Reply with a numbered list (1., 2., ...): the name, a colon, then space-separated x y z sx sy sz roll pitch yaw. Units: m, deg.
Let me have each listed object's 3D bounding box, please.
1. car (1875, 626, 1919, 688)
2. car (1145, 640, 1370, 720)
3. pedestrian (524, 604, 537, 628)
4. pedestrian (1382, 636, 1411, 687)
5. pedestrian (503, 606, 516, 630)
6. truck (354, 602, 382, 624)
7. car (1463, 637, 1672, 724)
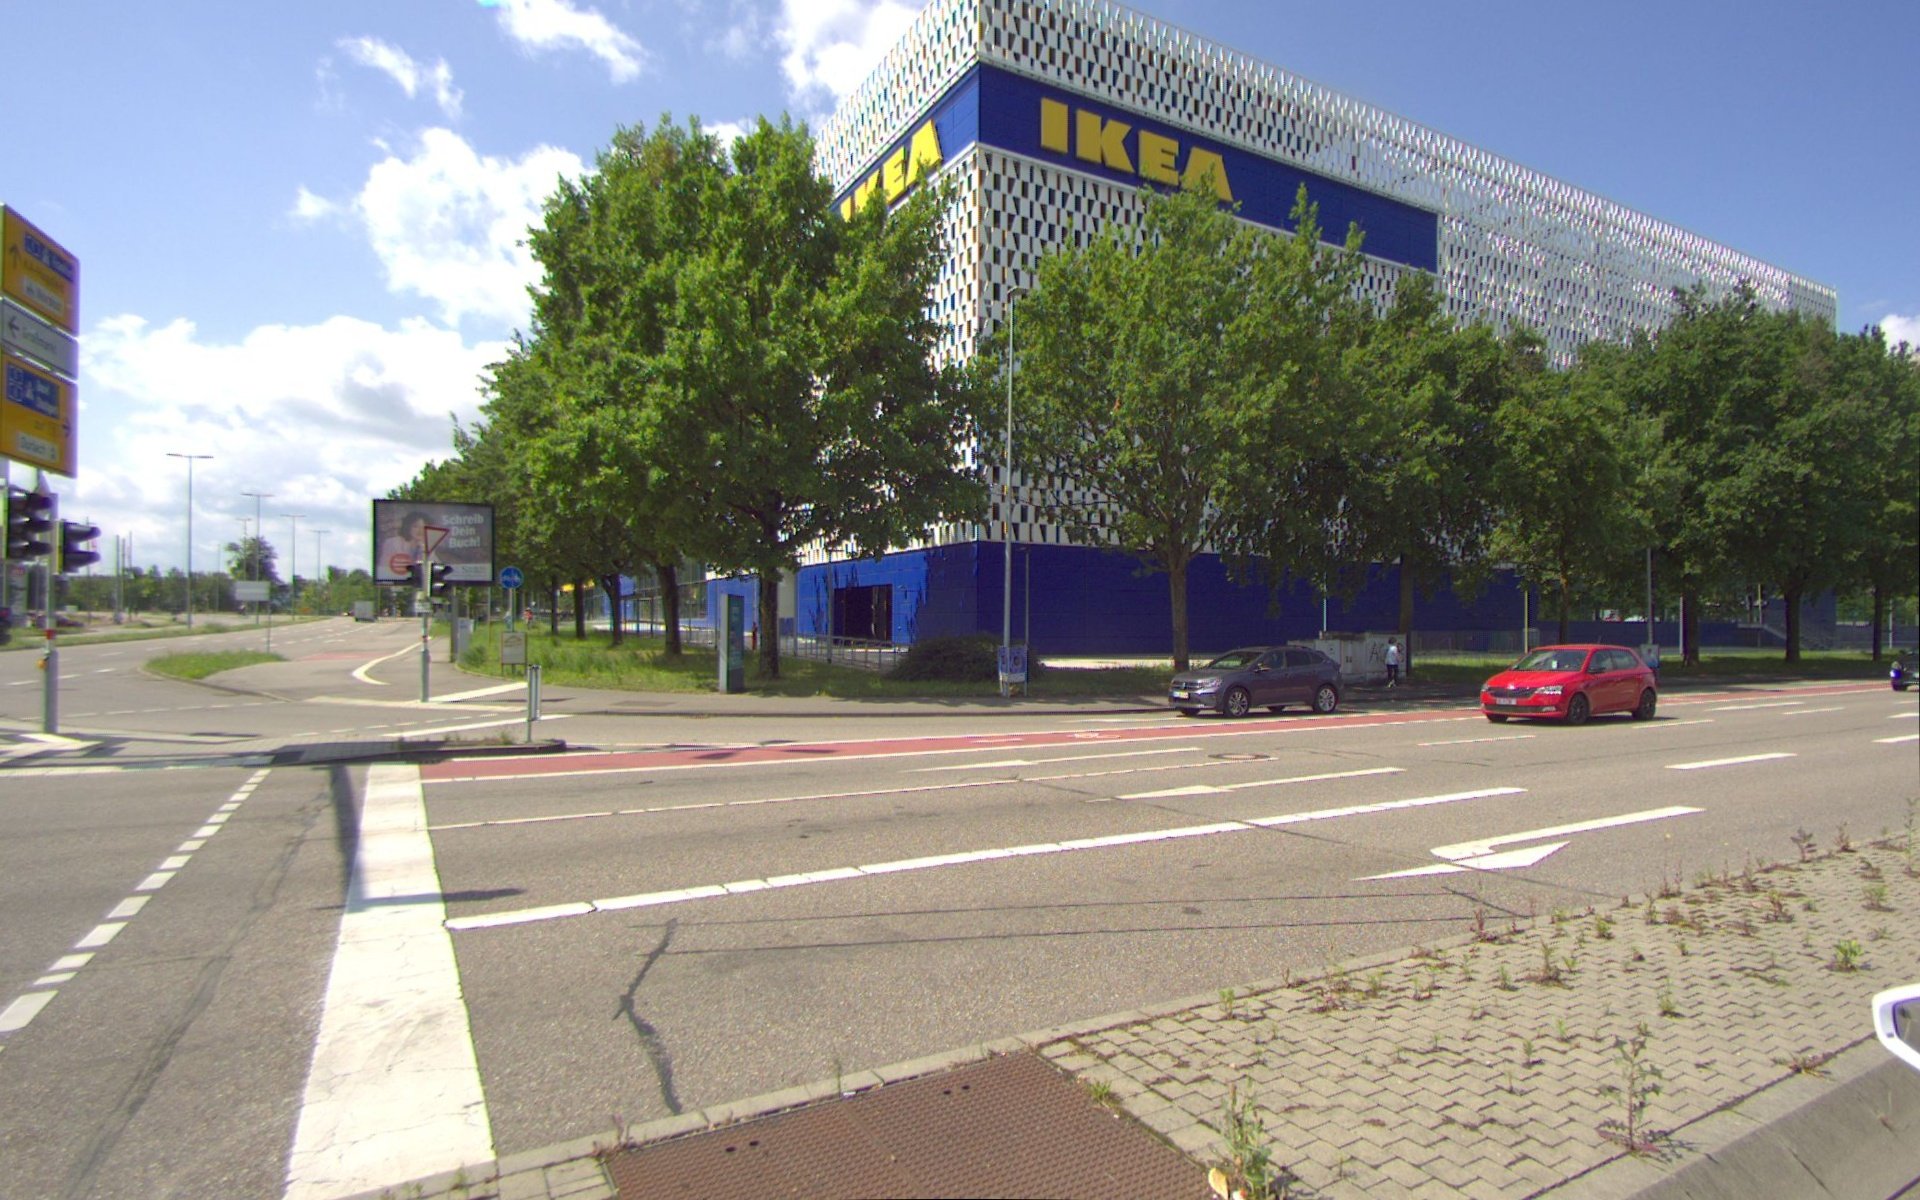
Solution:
1. car: 29.591 1.684 30.064 4.766 1.778 1.919 1 -4 -31
2. car: 6.532 1.694 22.121 4.515 1.576 1.889 1 -1 -19
3. pedestrian: -31.547 1.188 73.834 0.842 1.751 1.158 -1 1 -23
4. pedestrian: 13.772 1.944 31.714 0.752 1.576 0.500 1 -1 -30
5. pedestrian: -33.170 1.320 73.929 0.842 1.751 1.158 -1 1 -23
6. truck: -79.815 1.691 135.456 2.937 2.789 5.743 -1 1 -28
7. car: 11.733 1.498 19.347 4.077 1.502 1.679 1 -3 -30
